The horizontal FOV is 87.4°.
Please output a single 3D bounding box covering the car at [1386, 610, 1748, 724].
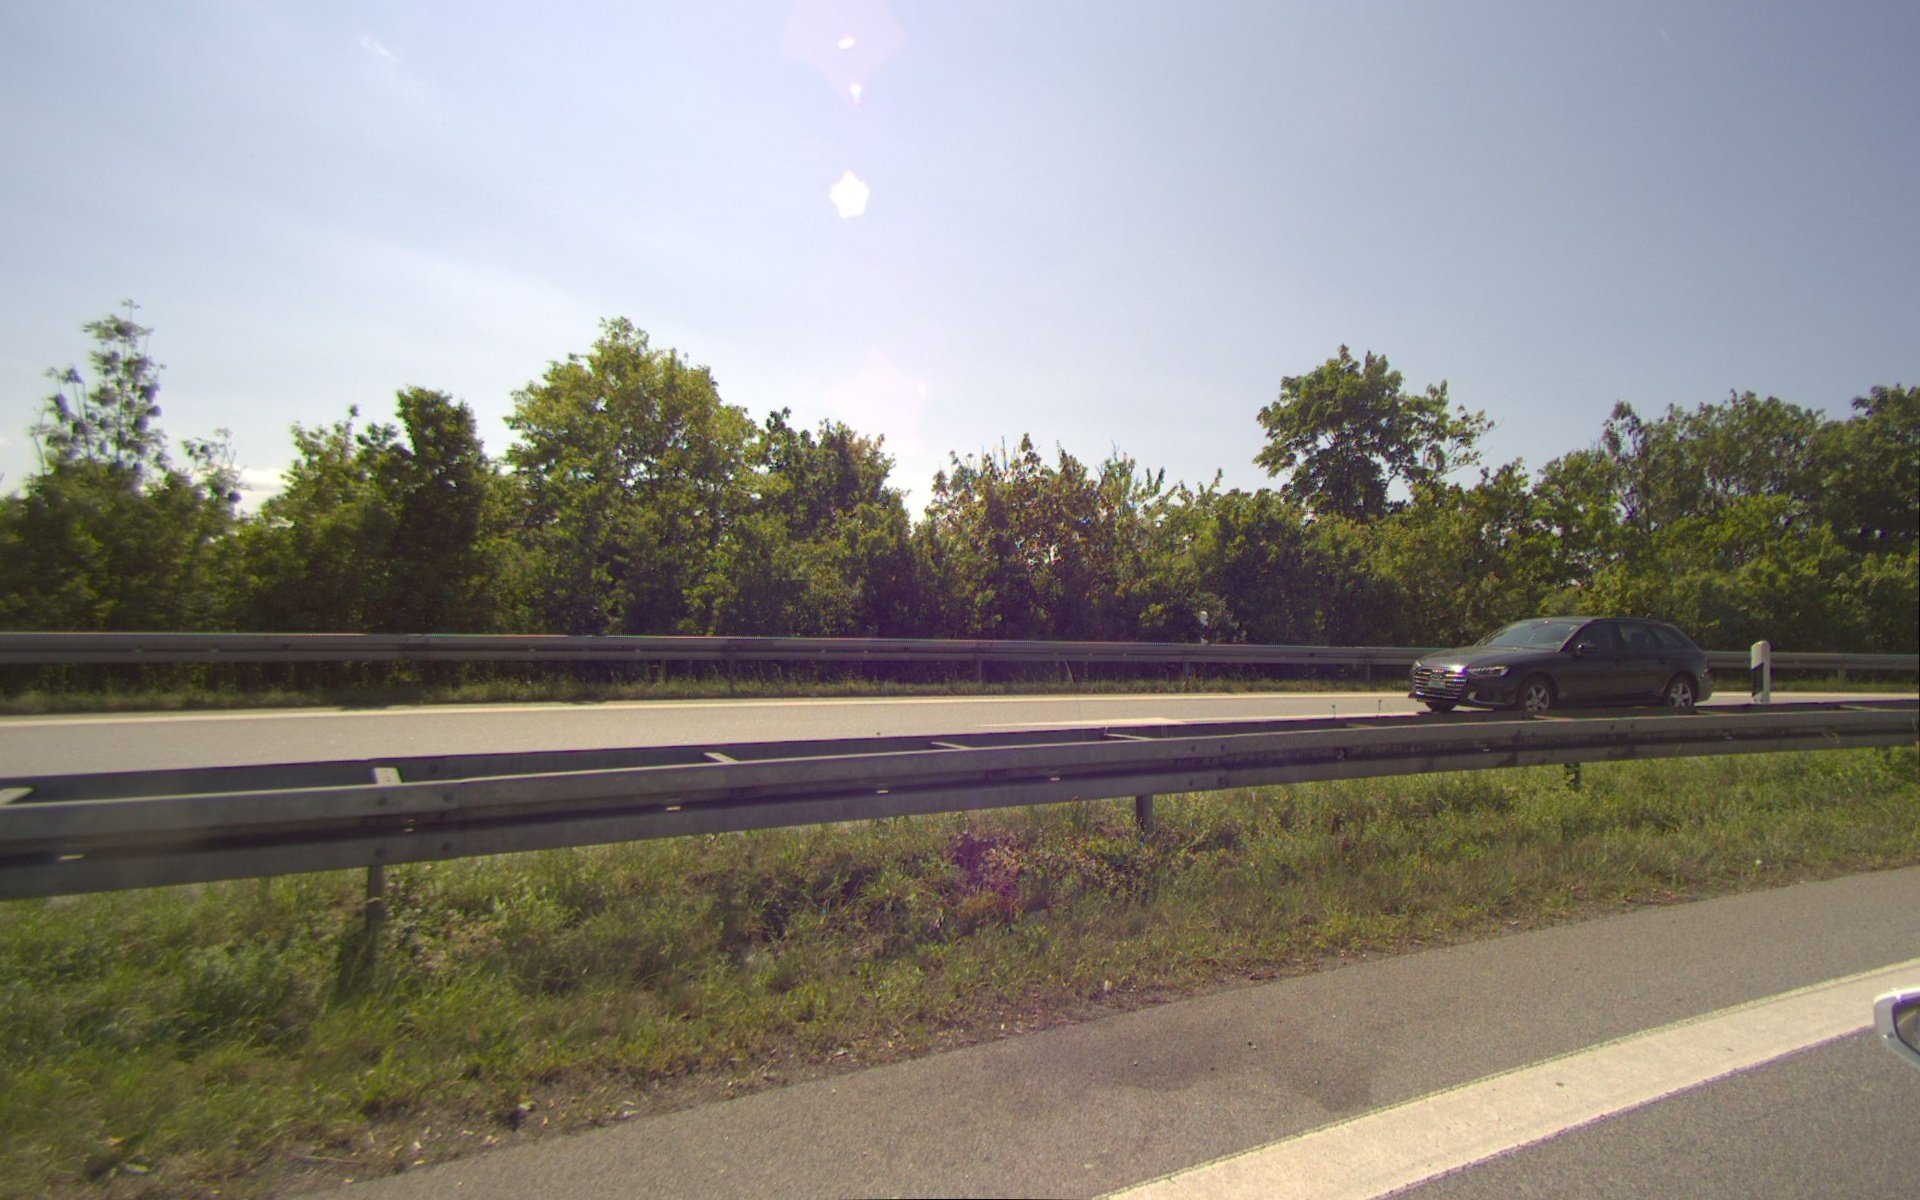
[{"bbox_3d":[8.804,0.953,14.647,4.624,1.467,1.794,2,0,-15],"label":"car"}]
